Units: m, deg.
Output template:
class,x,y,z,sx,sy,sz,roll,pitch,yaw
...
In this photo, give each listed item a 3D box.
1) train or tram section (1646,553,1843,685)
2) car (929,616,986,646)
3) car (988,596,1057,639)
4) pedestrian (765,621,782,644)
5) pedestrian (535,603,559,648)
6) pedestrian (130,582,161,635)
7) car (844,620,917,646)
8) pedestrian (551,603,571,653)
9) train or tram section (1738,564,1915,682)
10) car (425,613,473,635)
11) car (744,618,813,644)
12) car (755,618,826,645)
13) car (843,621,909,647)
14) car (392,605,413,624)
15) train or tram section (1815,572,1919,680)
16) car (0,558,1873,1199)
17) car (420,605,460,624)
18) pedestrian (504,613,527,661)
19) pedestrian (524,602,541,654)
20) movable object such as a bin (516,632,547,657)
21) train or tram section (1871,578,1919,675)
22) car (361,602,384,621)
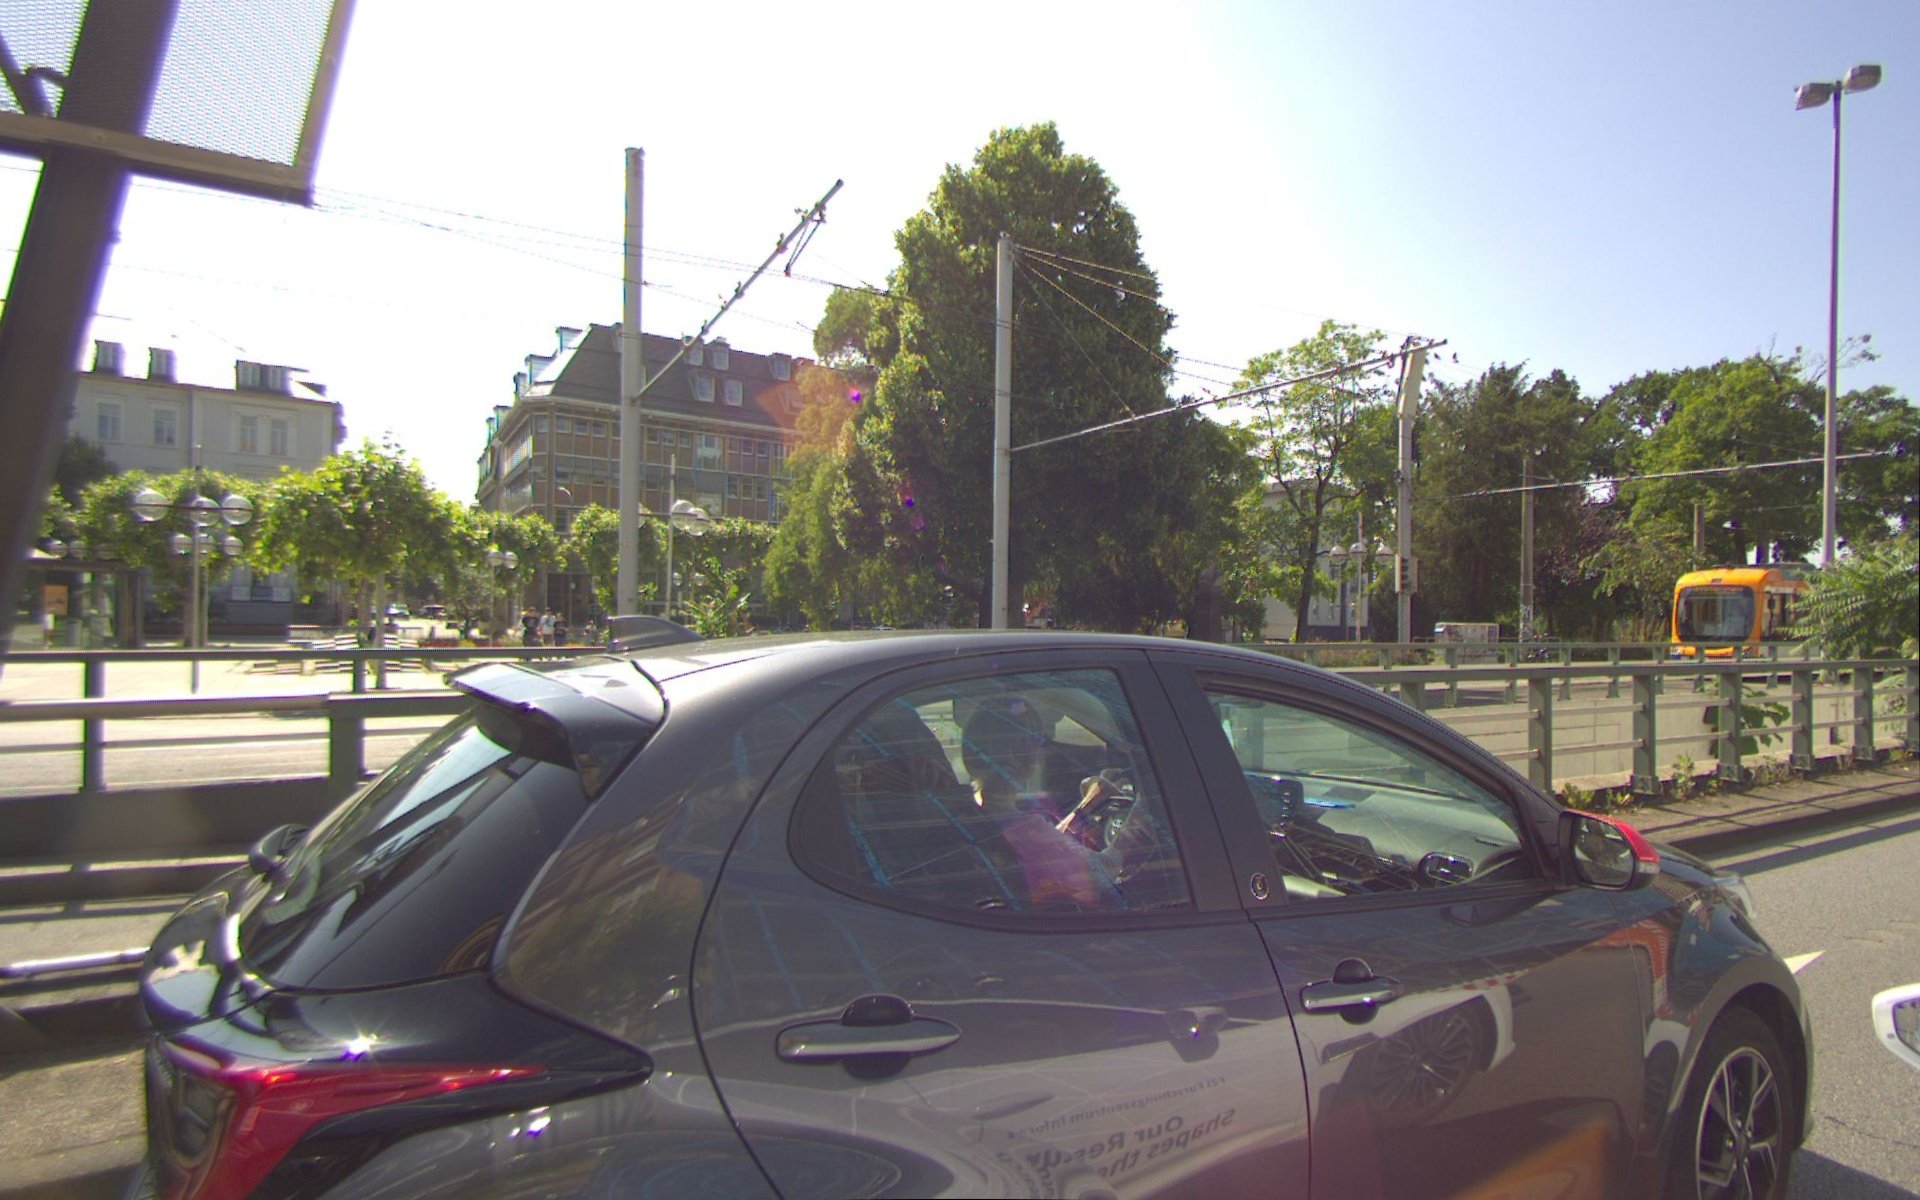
class,x,y,z,sx,sy,sz,roll,pitch,yaw
train or tram section,23.789,0.572,30.396,6.034,3.629,2.600,2,1,-31
car,-0.200,2.273,73.218,3.602,2.040,1.983,2,1,-31
car,5.226,1.505,83.529,5.359,3.360,2.115,2,1,-31
pedestrian,-10.747,1.867,57.814,0.655,1.279,0.743,2,-3,-42
pedestrian,-14.114,0.887,34.312,0.656,1.512,0.520,1,-3,-38
pedestrian,-31.582,0.348,38.939,0.823,2.034,0.598,1,-2,-33
car,-5.417,2.281,68.833,4.798,1.685,1.743,2,1,-37
pedestrian,-12.920,0.910,32.498,0.491,1.630,0.410,1,-3,-40
train or tram section,28.957,0.758,33.516,6.034,3.629,2.600,2,1,-31
car,-49.114,2.307,96.482,3.954,1.940,1.983,2,1,-31
car,-11.699,1.985,64.757,3.962,1.528,1.743,2,1,-37
car,-10.513,1.945,62.235,3.962,1.528,1.743,2,1,-37
car,-5.489,2.238,65.973,3.962,1.528,1.743,2,1,-37
car,-61.873,1.582,111.525,1.976,1.940,3.969,2,1,-29
train or tram section,33.796,0.932,36.424,5.296,3.629,2.600,2,1,-31
car,0.265,0.788,2.398,3.954,1.494,1.768,2,-2,-31
car,-58.988,1.678,113.941,3.954,1.940,1.983,2,1,-31
pedestrian,-15.455,1.290,34.950,0.616,1.630,0.488,1,-3,-40
pedestrian,-13.587,0.898,31.917,0.460,1.630,0.449,1,-3,-30
movable object such as a bin,-13.203,1.362,30.960,0.790,0.764,0.903,1,-3,-30
train or tram section,38.956,1.117,39.564,6.819,3.629,2.600,2,1,-31
car,-62.958,1.243,107.655,1.978,1.818,3.965,2,1,-31
